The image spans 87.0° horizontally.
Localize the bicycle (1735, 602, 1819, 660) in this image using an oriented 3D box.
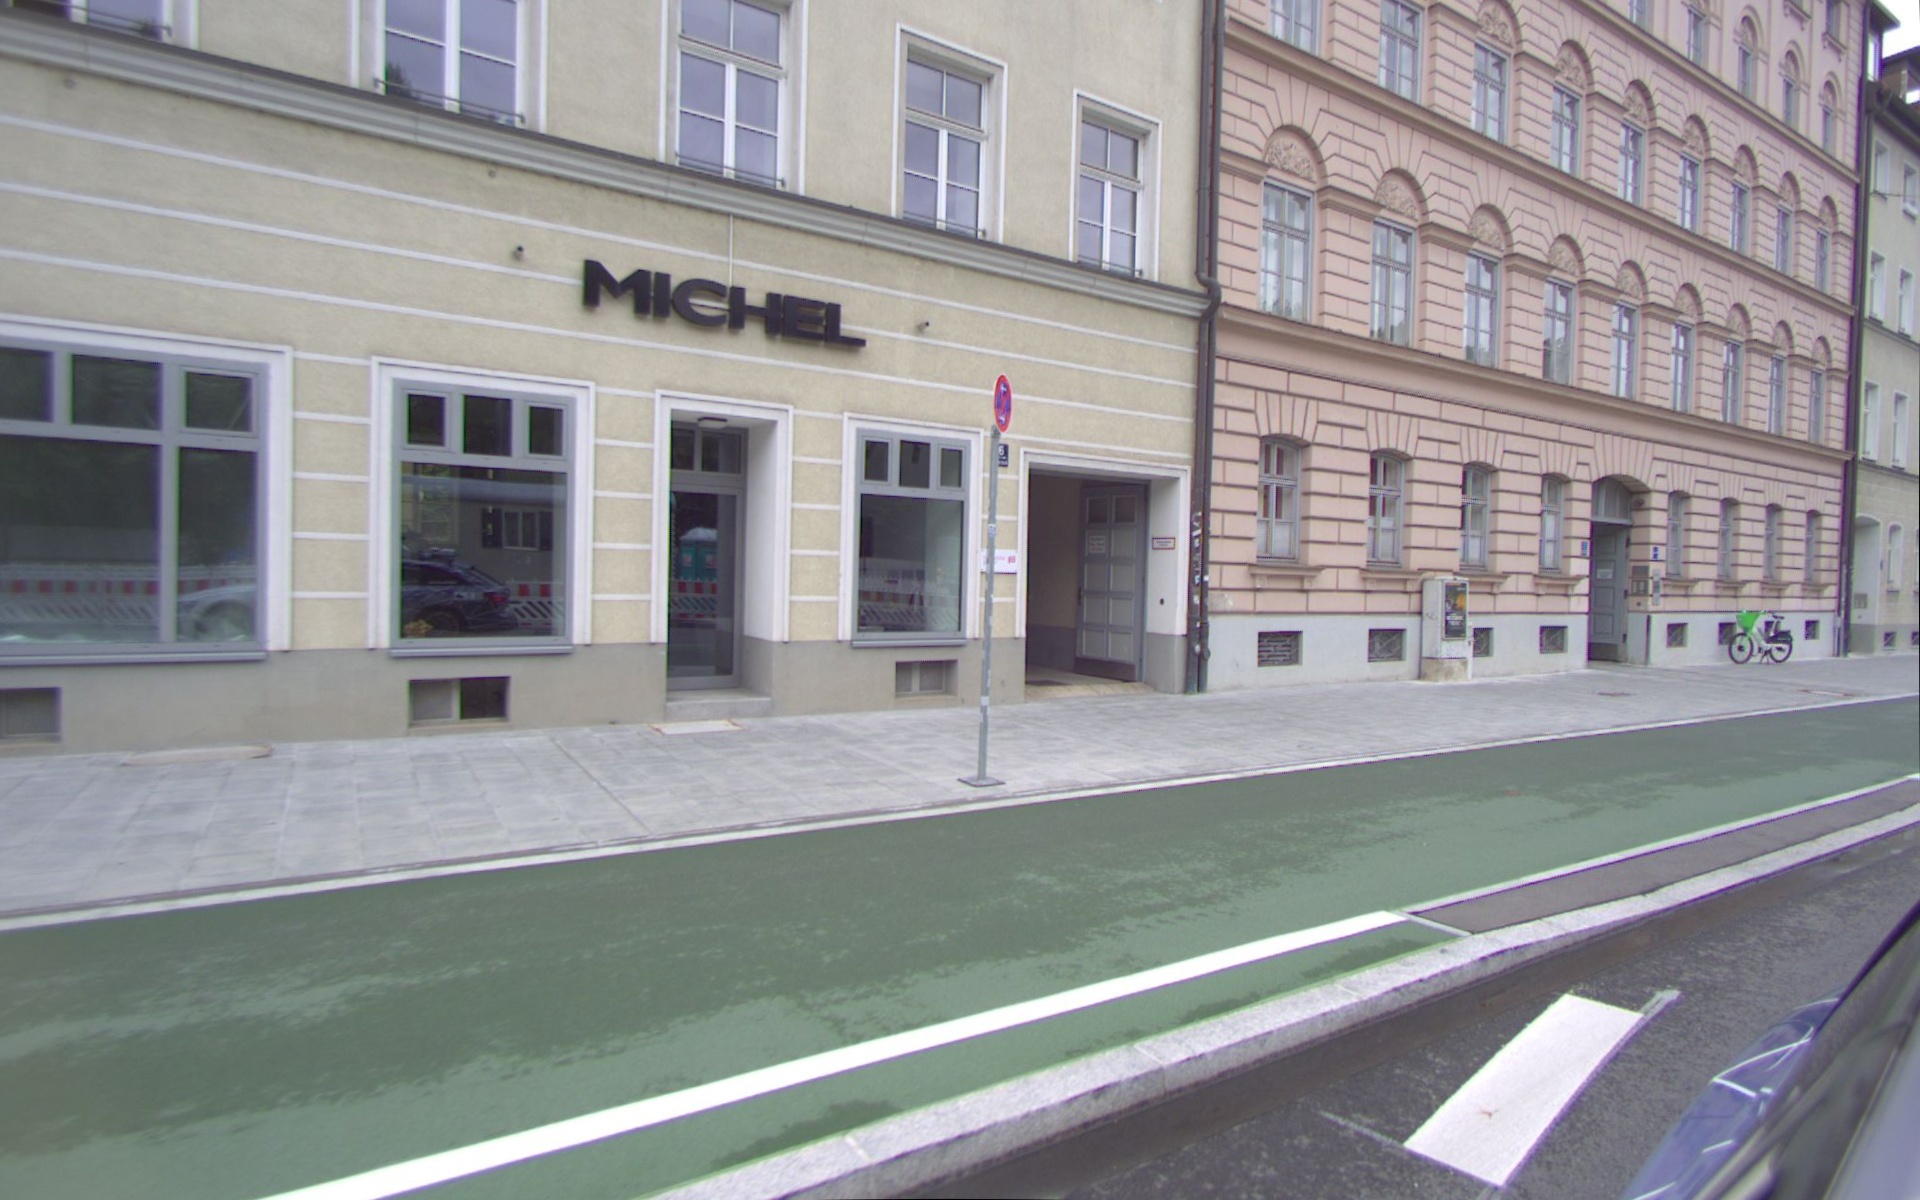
[{"bbox_3d":[17.279,0.654,21.411,1.695,1.188,0.428,1,2,-15],"label":"bicycle"}]
